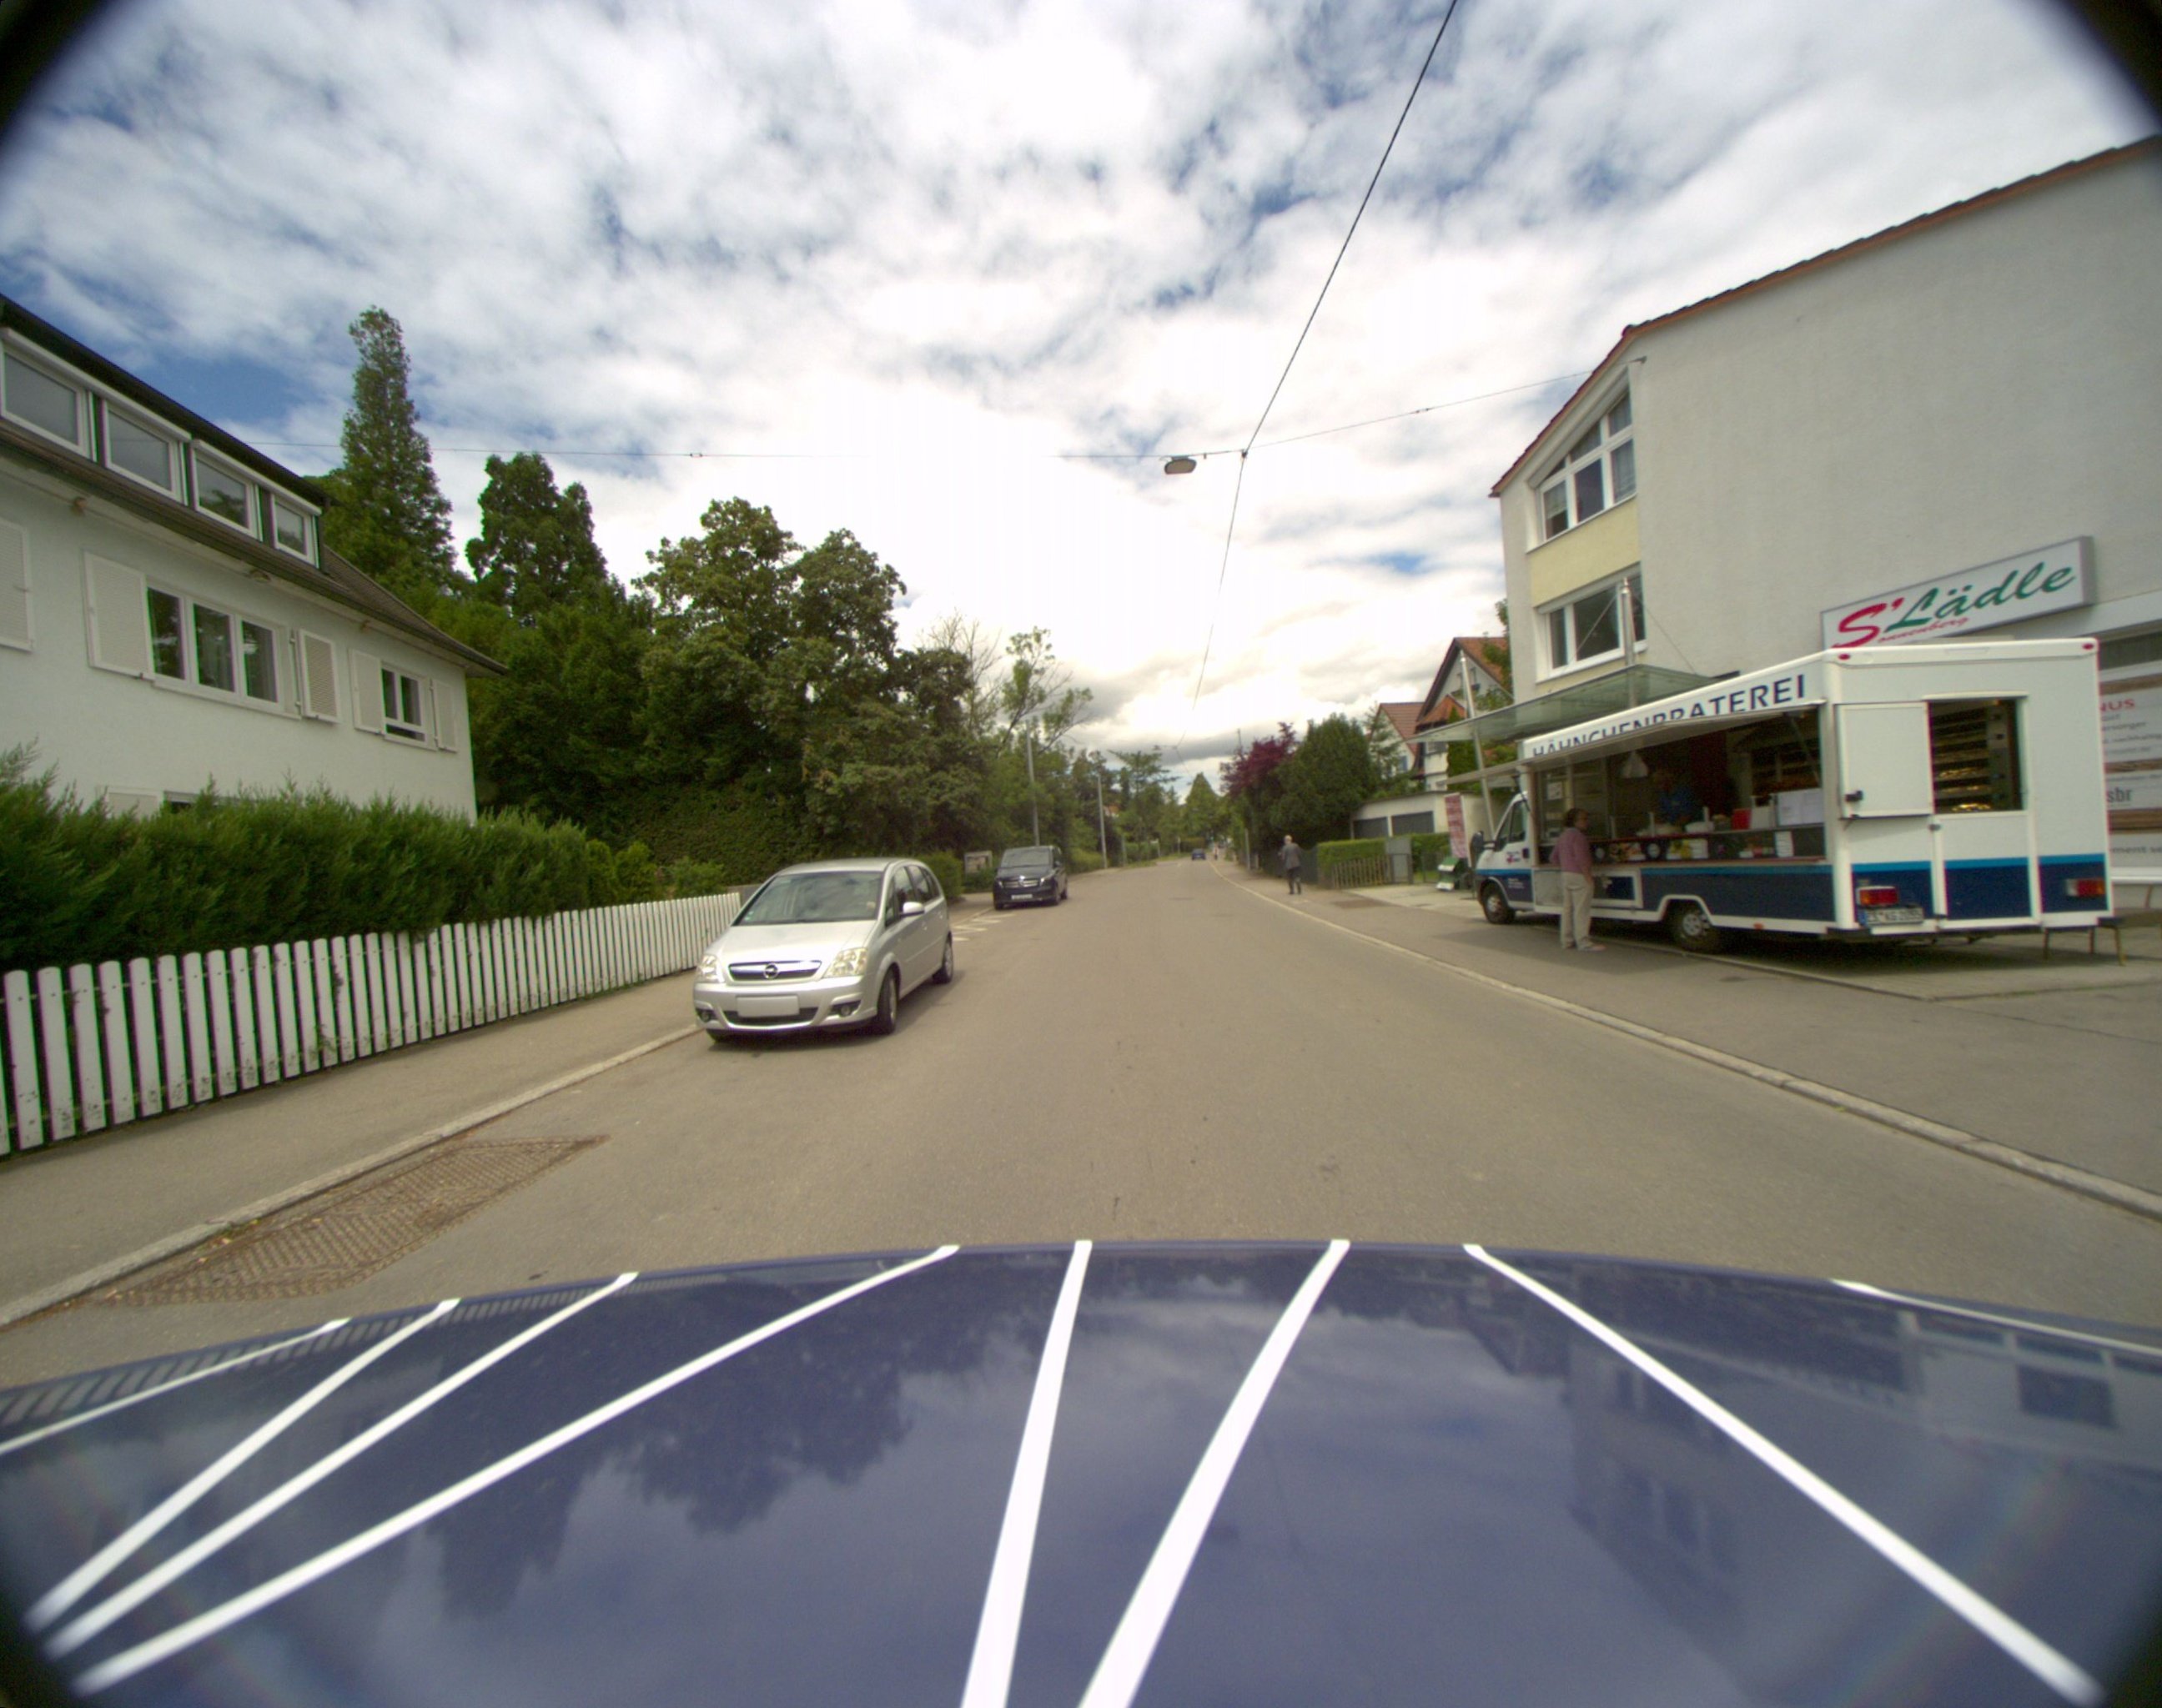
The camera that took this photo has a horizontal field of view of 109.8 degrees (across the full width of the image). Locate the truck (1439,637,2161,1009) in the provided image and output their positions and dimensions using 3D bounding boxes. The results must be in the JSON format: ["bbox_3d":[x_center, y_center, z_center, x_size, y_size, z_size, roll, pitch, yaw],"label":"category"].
[{"bbox_3d":[7.373,-0.266,9.452,2.479,2.824,6.706,-4,0,0],"label":"truck"}]

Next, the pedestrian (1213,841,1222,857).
[{"bbox_3d":[14.914,-0.544,83.206,0.821,1.734,0.604,-6,1,11],"label":"pedestrian"}]

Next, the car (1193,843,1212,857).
[{"bbox_3d":[15.949,-0.568,99.797,1.696,1.423,3.931,-7,0,18],"label":"car"}]

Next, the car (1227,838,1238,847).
[{"bbox_3d":[30.758,-2.353,154.545,1.844,1.646,4.140,-1,1,7],"label":"car"}]

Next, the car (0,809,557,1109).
[{"bbox_3d":[-9.802,1.020,9.919,2.505,2.666,5.183,-6,1,-7],"label":"car"}]

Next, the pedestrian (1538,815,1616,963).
[{"bbox_3d":[5.944,0.404,9.129,0.402,1.685,0.597,-6,1,-1],"label":"pedestrian"}]

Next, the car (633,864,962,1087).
[{"bbox_3d":[-2.499,0.969,7.871,1.763,1.573,4.018,-2,1,1],"label":"car"}]

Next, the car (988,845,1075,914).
[{"bbox_3d":[-1.448,0.698,24.367,1.913,1.838,5.159,-4,1,5],"label":"car"}]

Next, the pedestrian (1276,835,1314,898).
[{"bbox_3d":[6.141,0.345,21.865,0.724,1.677,1.109,-6,2,5],"label":"pedestrian"}]
